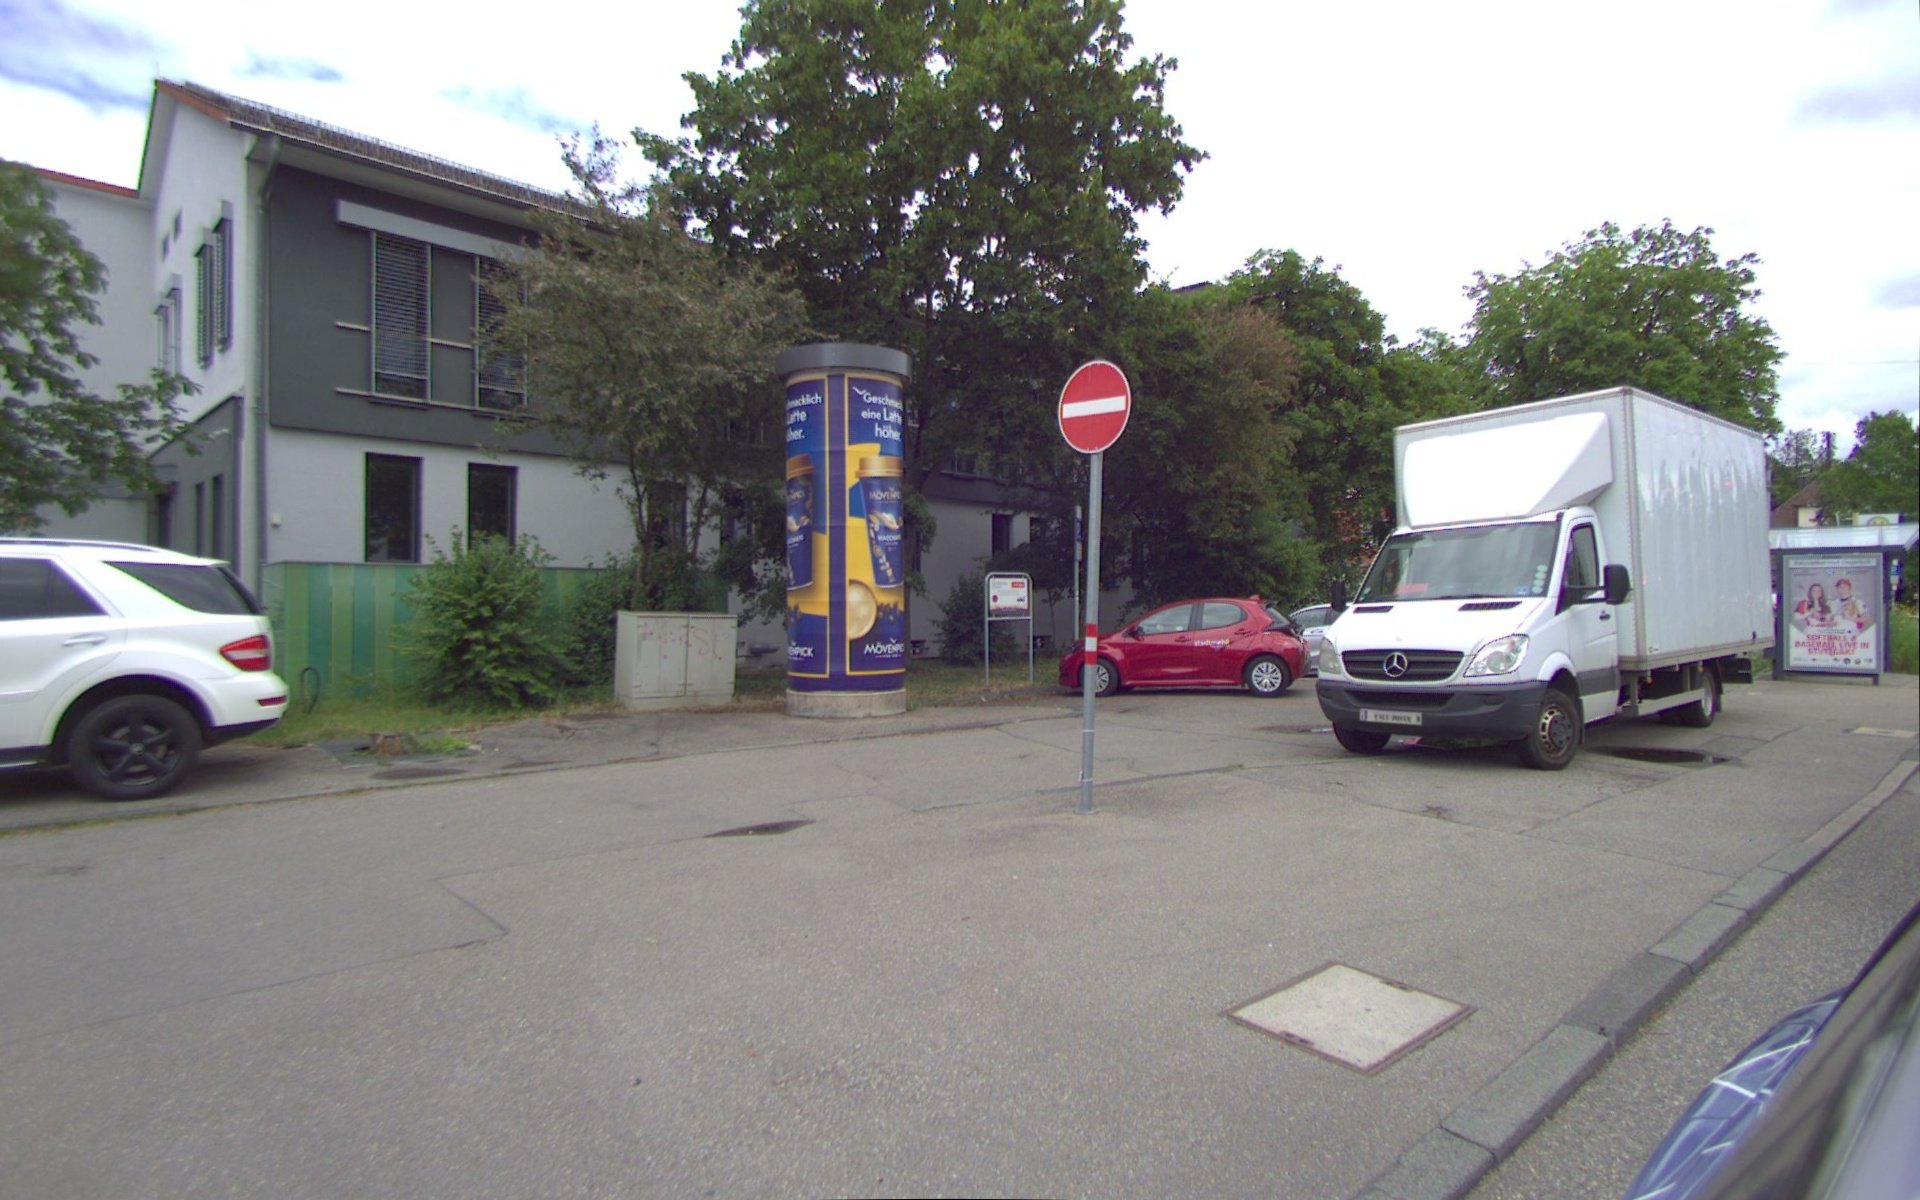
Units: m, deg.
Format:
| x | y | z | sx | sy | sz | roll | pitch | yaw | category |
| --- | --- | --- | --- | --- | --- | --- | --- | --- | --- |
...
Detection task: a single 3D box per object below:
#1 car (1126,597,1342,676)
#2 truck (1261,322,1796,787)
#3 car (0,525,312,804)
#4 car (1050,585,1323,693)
| x | y | z | sx | sy | sz | roll | pitch | yaw | category |
| --- | --- | --- | --- | --- | --- | --- | --- | --- | --- |
| 5.388 | 0.714 | 20.064 | 3.946 | 1.428 | 1.516 | -2 | -1 | 18 | car |
| 6.571 | -0.401 | 10.998 | 7.638 | 3.469 | 2.540 | -1 | 0 | -40 | truck |
| -7.193 | 0.412 | 6.749 | 4.640 | 1.780 | 1.855 | 0 | 0 | -41 | car |
| 3.520 | 0.612 | 15.772 | 3.856 | 1.502 | 1.669 | -2 | -1 | 25 | car |
